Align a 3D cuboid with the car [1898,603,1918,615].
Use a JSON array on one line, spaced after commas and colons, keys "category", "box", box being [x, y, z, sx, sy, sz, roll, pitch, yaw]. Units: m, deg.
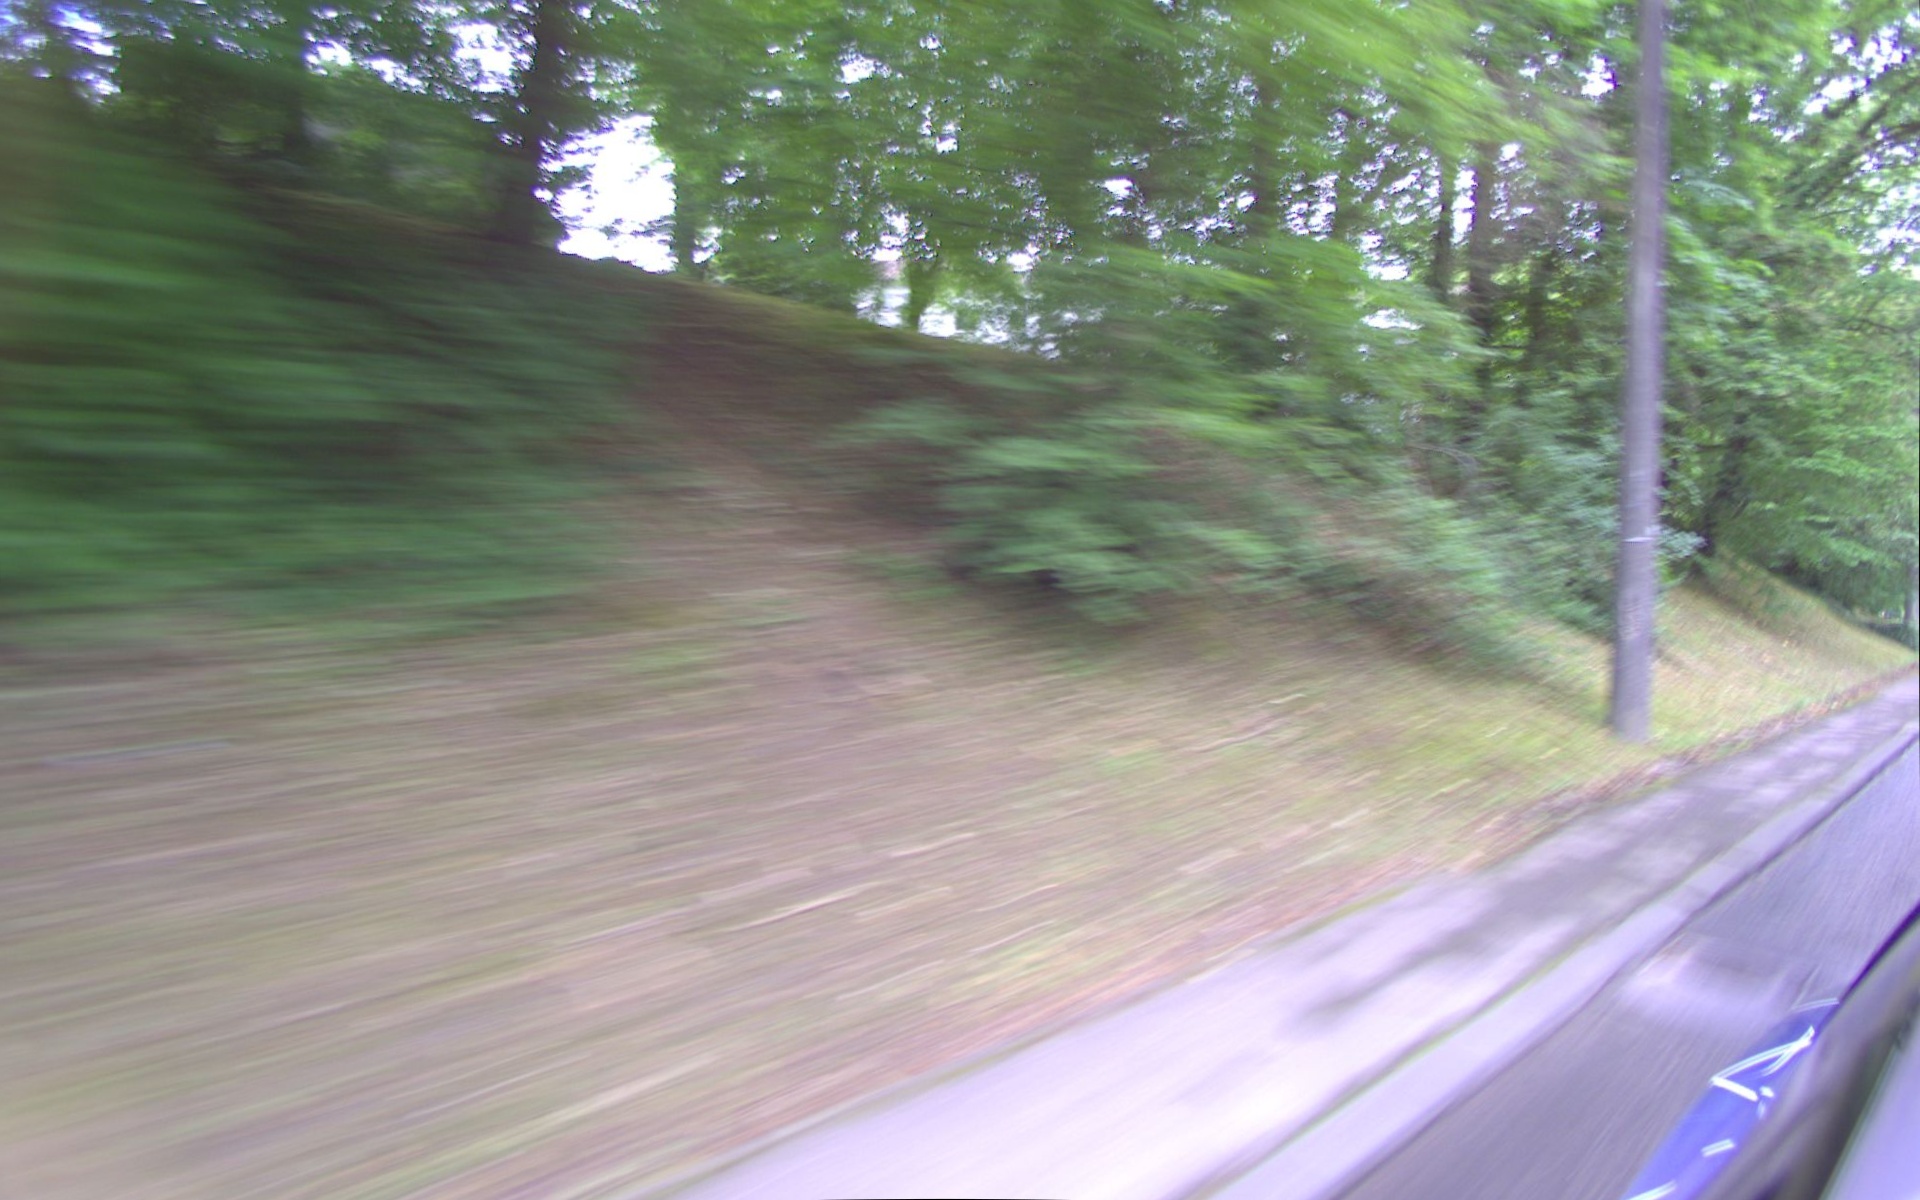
[{"category": "car", "box": [132.310, 1.239, 141.248, 1.817, 1.716, 4.224, 0, 1, 41]}]
